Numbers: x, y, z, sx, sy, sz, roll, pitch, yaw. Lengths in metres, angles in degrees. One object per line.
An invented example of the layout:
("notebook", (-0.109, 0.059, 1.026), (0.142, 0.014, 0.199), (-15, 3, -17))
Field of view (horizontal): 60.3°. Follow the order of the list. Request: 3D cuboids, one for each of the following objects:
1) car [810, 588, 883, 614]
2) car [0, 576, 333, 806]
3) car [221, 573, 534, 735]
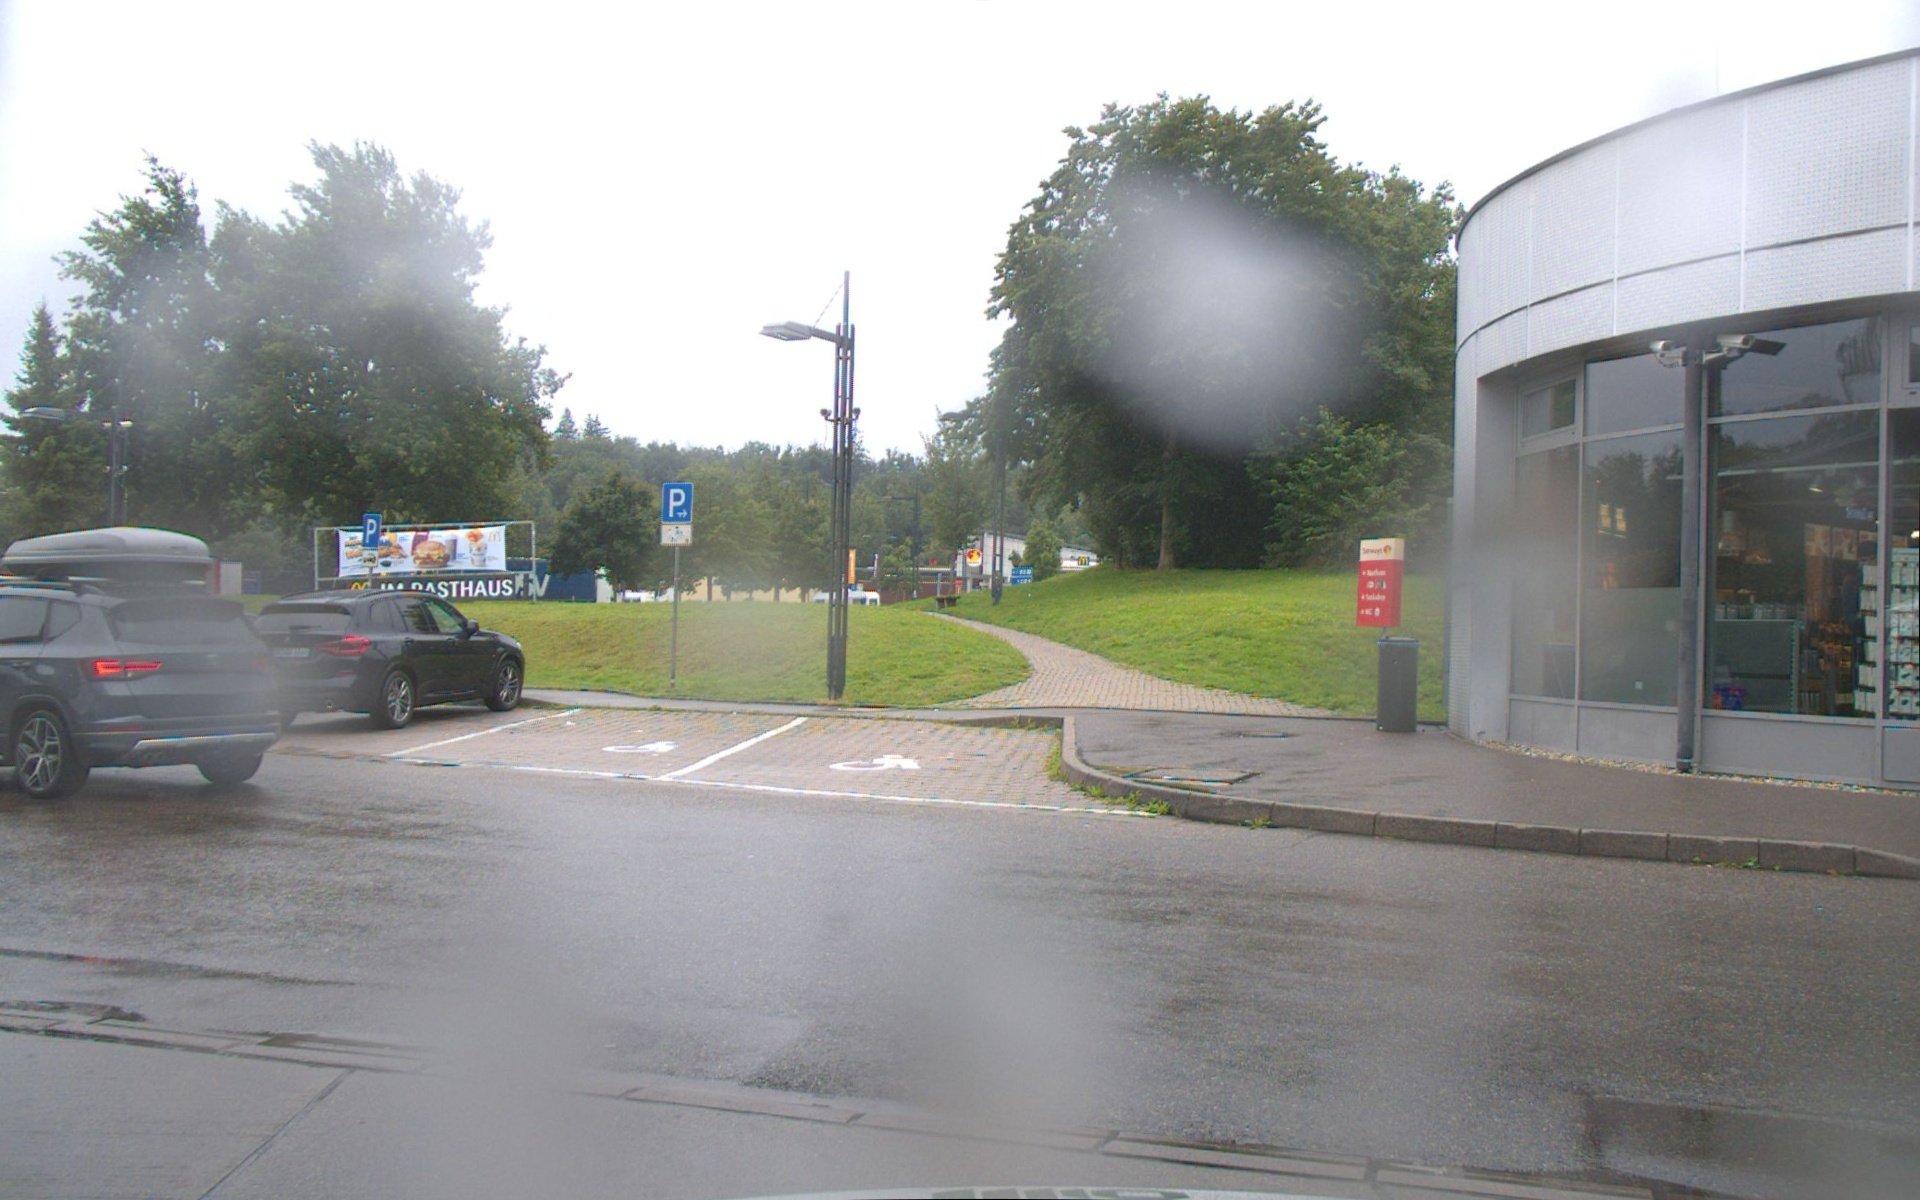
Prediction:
("car", (-9.153, 0.069, 133.647), (5.310, 2.049, 2.456), (1, 0, 19))
("car", (-7.402, 0.619, 13.513), (4.227, 1.615, 1.889), (1, 1, 26))
("car", (-7.328, 0.614, 21.337), (1.844, 1.860, 4.417), (0, 0, 11))
